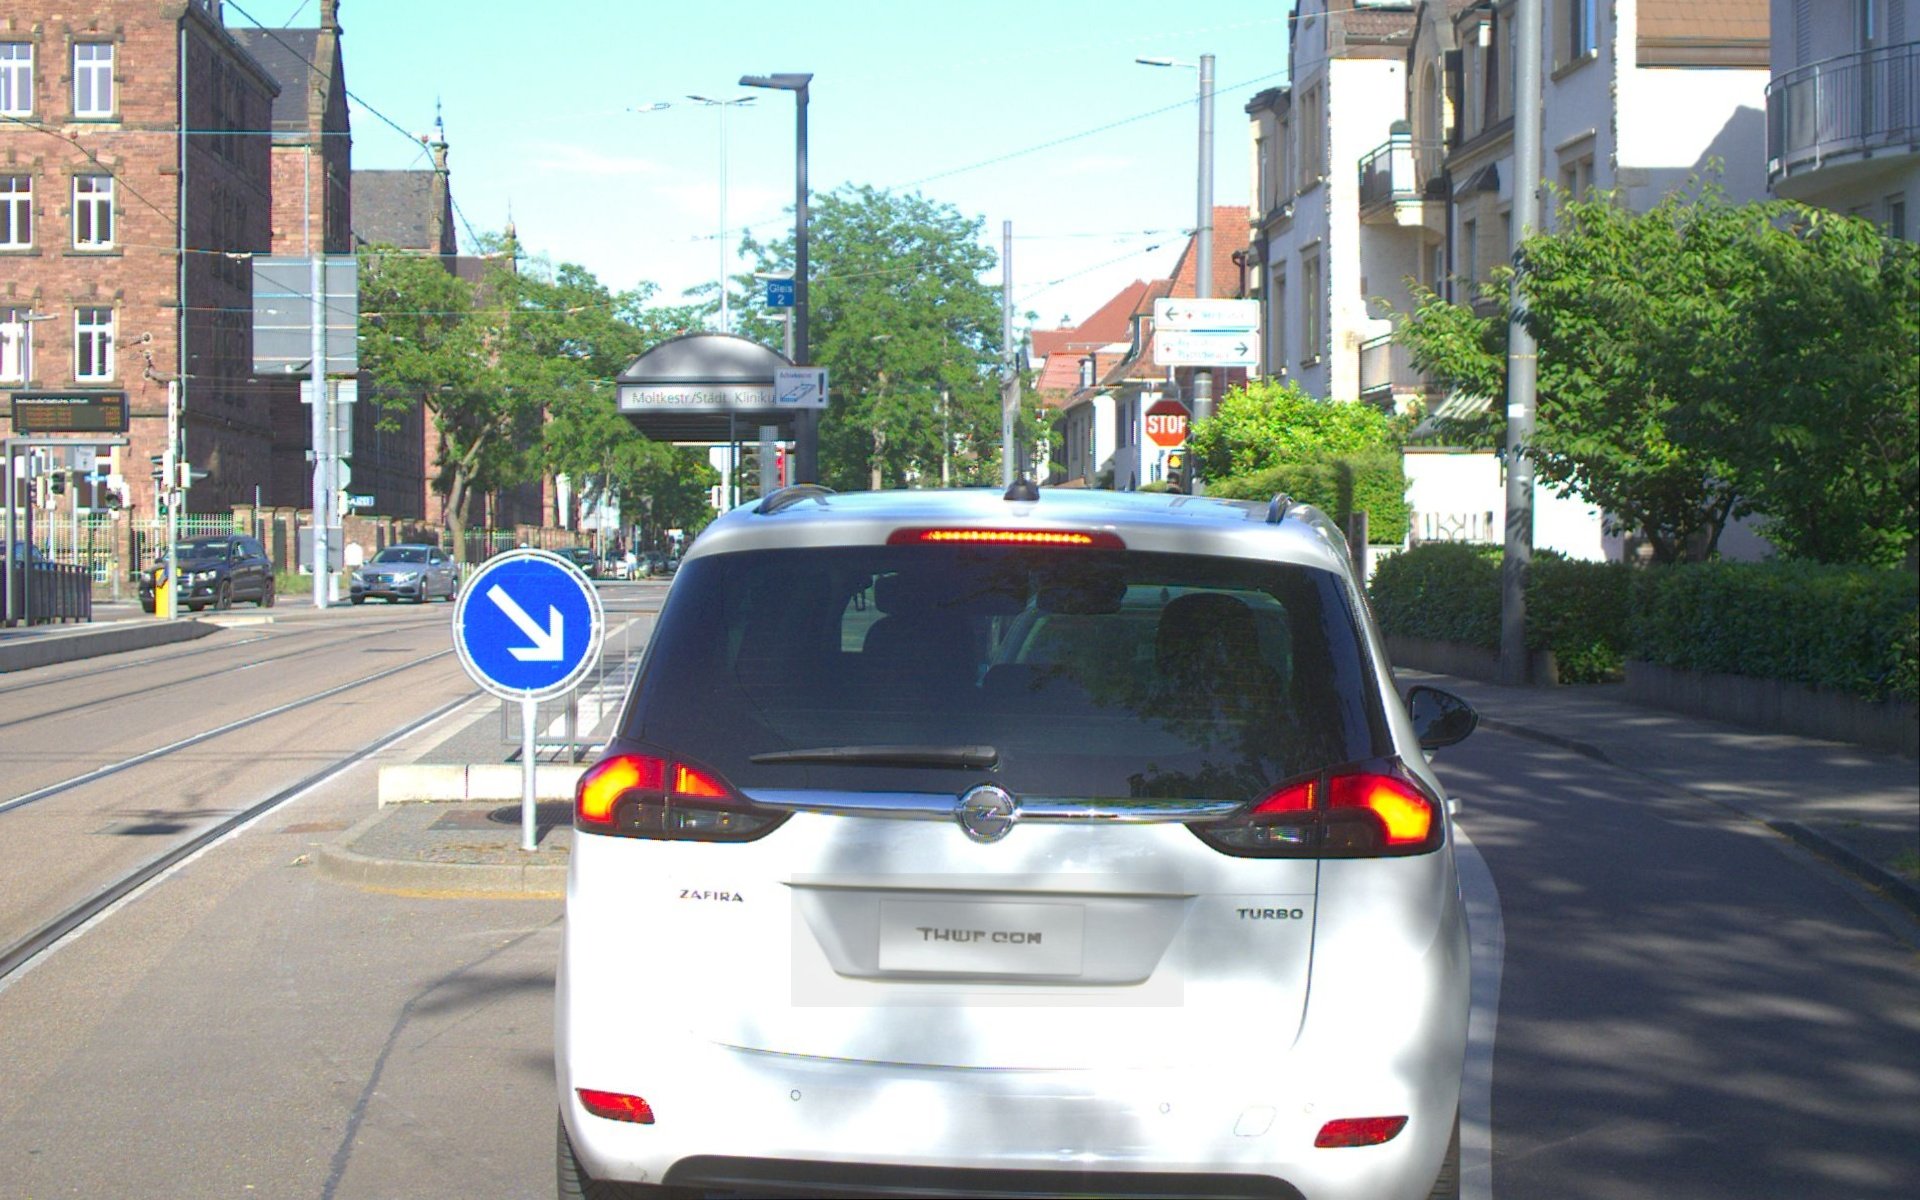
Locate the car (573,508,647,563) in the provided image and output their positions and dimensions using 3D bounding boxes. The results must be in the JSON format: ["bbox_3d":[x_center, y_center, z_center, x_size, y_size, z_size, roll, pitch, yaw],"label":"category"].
[{"bbox_3d":[-13.253,-2.430,130.486,1.994,2.007,3.999,1,1,6],"label":"car"}]

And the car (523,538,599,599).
[{"bbox_3d":[-13.414,-1.067,115.707,1.993,2.007,4.000,1,1,1],"label":"car"}]

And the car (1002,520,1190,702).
[{"bbox_3d":[1.286,0.065,33.930,1.596,1.629,3.901,2,1,-1],"label":"car"}]

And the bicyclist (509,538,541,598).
[{"bbox_3d":[-12.547,-0.928,99.233,0.725,1.682,1.169,0,2,2],"label":"bicyclist"}]

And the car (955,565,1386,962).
[{"bbox_3d":[0.950,0.591,14.789,1.569,1.396,3.783,2,1,5],"label":"car"}]

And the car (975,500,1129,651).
[{"bbox_3d":[1.038,-0.328,40.489,1.596,1.629,3.902,2,2,-1],"label":"car"}]

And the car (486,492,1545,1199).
[{"bbox_3d":[0.258,0.561,8.089,1.878,1.579,3.999,0,1,5],"label":"car"}]

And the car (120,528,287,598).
[{"bbox_3d":[-16.081,-0.765,73.283,1.828,1.441,4.325,1,0,12],"label":"car"}]

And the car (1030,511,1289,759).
[{"bbox_3d":[1.373,0.193,24.937,1.569,1.609,3.784,2,1,-1],"label":"car"}]

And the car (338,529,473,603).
[{"bbox_3d":[-13.749,-0.821,85.462,1.828,1.782,4.325,1,0,12],"label":"car"}]
